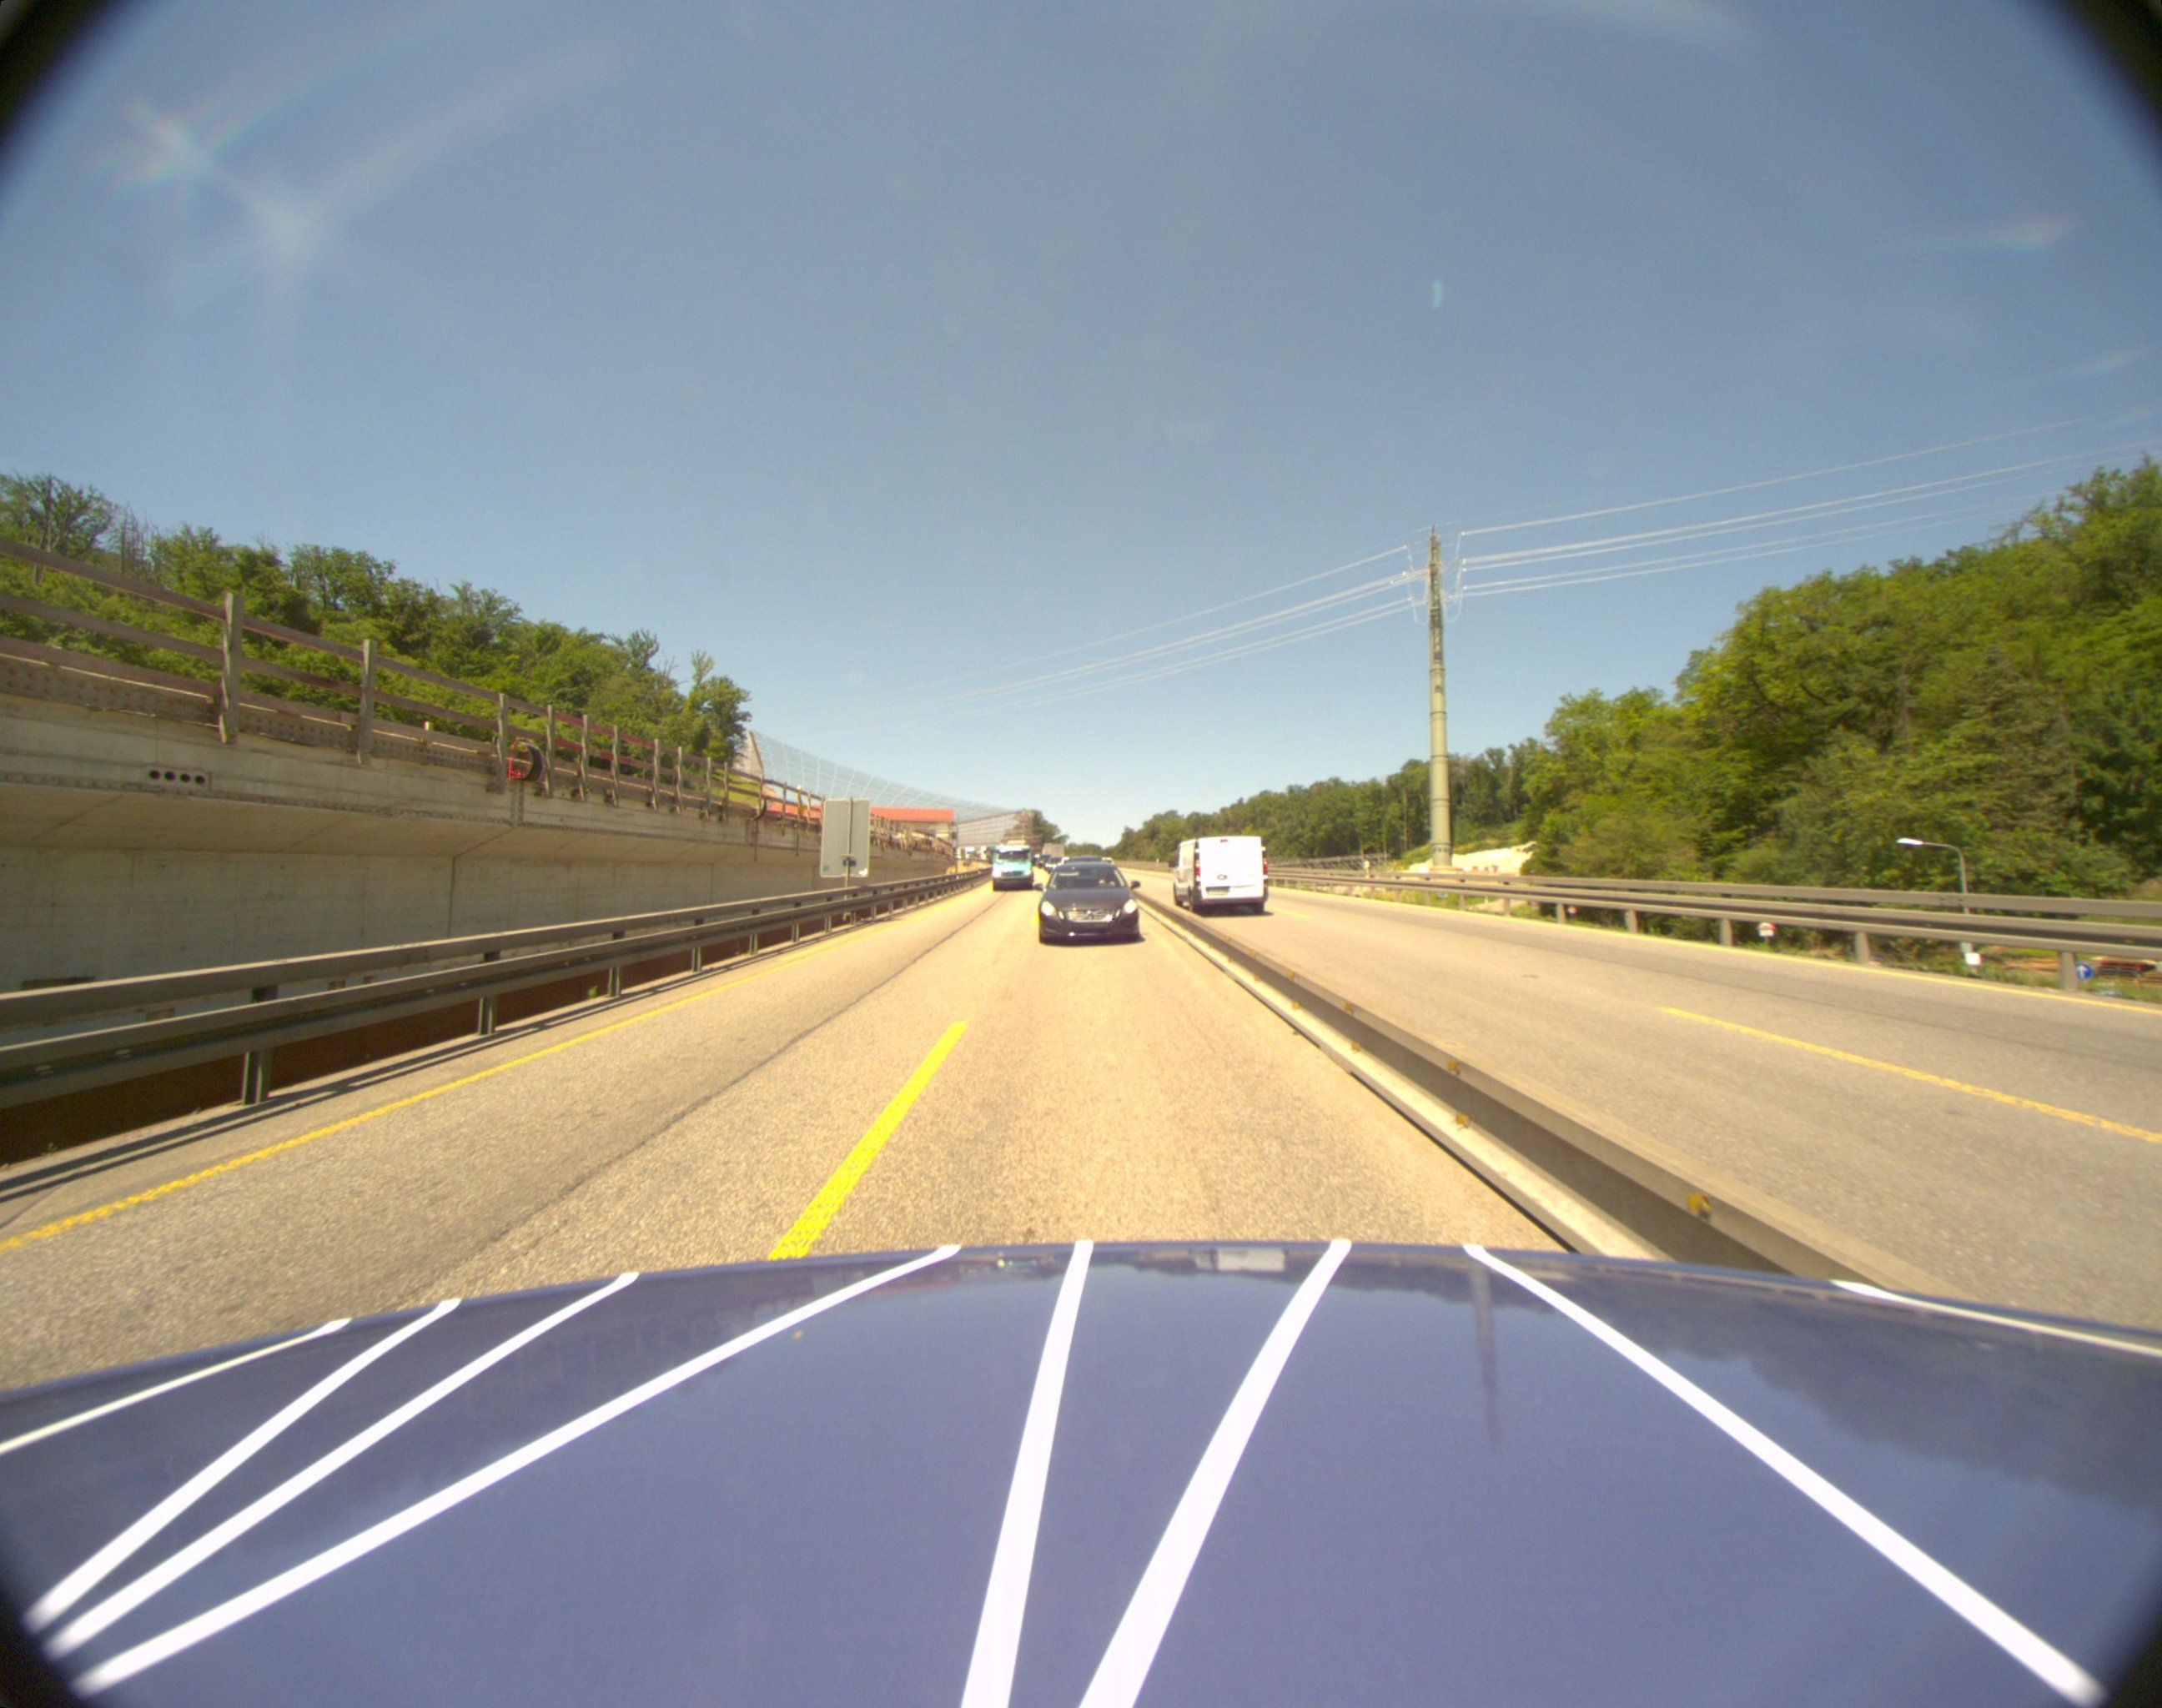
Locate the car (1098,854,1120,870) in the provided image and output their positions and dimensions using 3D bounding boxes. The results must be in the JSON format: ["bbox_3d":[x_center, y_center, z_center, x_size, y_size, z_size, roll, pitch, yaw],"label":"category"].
[{"bbox_3d":[2.505,0.738,68.622,1.751,1.418,3.709,-1,-1,-1],"label":"car"}]

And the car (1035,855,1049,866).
[{"bbox_3d":[-5.374,0.912,104.277,1.648,1.366,3.342,-2,1,-7],"label":"car"}]

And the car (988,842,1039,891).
[{"bbox_3d":[-3.441,0.596,40.091,2.217,2.312,6.900,-1,0,-2],"label":"car"}]

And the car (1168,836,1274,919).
[{"bbox_3d":[3.680,0.556,20.877,1.999,1.999,4.857,-1,1,0],"label":"car"}]

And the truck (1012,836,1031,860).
[{"bbox_3d":[-9.417,-0.948,119.581,2.472,3.464,9.862,-2,1,-6],"label":"truck"}]

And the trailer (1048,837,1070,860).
[{"bbox_3d":[-4.641,-1.080,158.474,3.499,4.460,12.917,-2,1,-6],"label":"trailer"}]

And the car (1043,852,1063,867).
[{"bbox_3d":[-2.661,0.524,73.372,1.646,1.366,3.345,-2,1,2],"label":"car"}]

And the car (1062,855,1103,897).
[{"bbox_3d":[0.115,0.851,31.514,1.519,1.543,3.861,-1,1,2],"label":"car"}]

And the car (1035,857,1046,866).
[{"bbox_3d":[-6.426,1.175,120.738,1.647,1.366,3.343,-2,1,-4],"label":"car"}]

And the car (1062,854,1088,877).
[{"bbox_3d":[-0.414,0.819,55.476,1.736,1.557,3.619,-2,1,1],"label":"car"}]

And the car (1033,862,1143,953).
[{"bbox_3d":[0.061,0.941,15.270,1.844,1.475,4.562,-1,0,-2],"label":"car"}]
